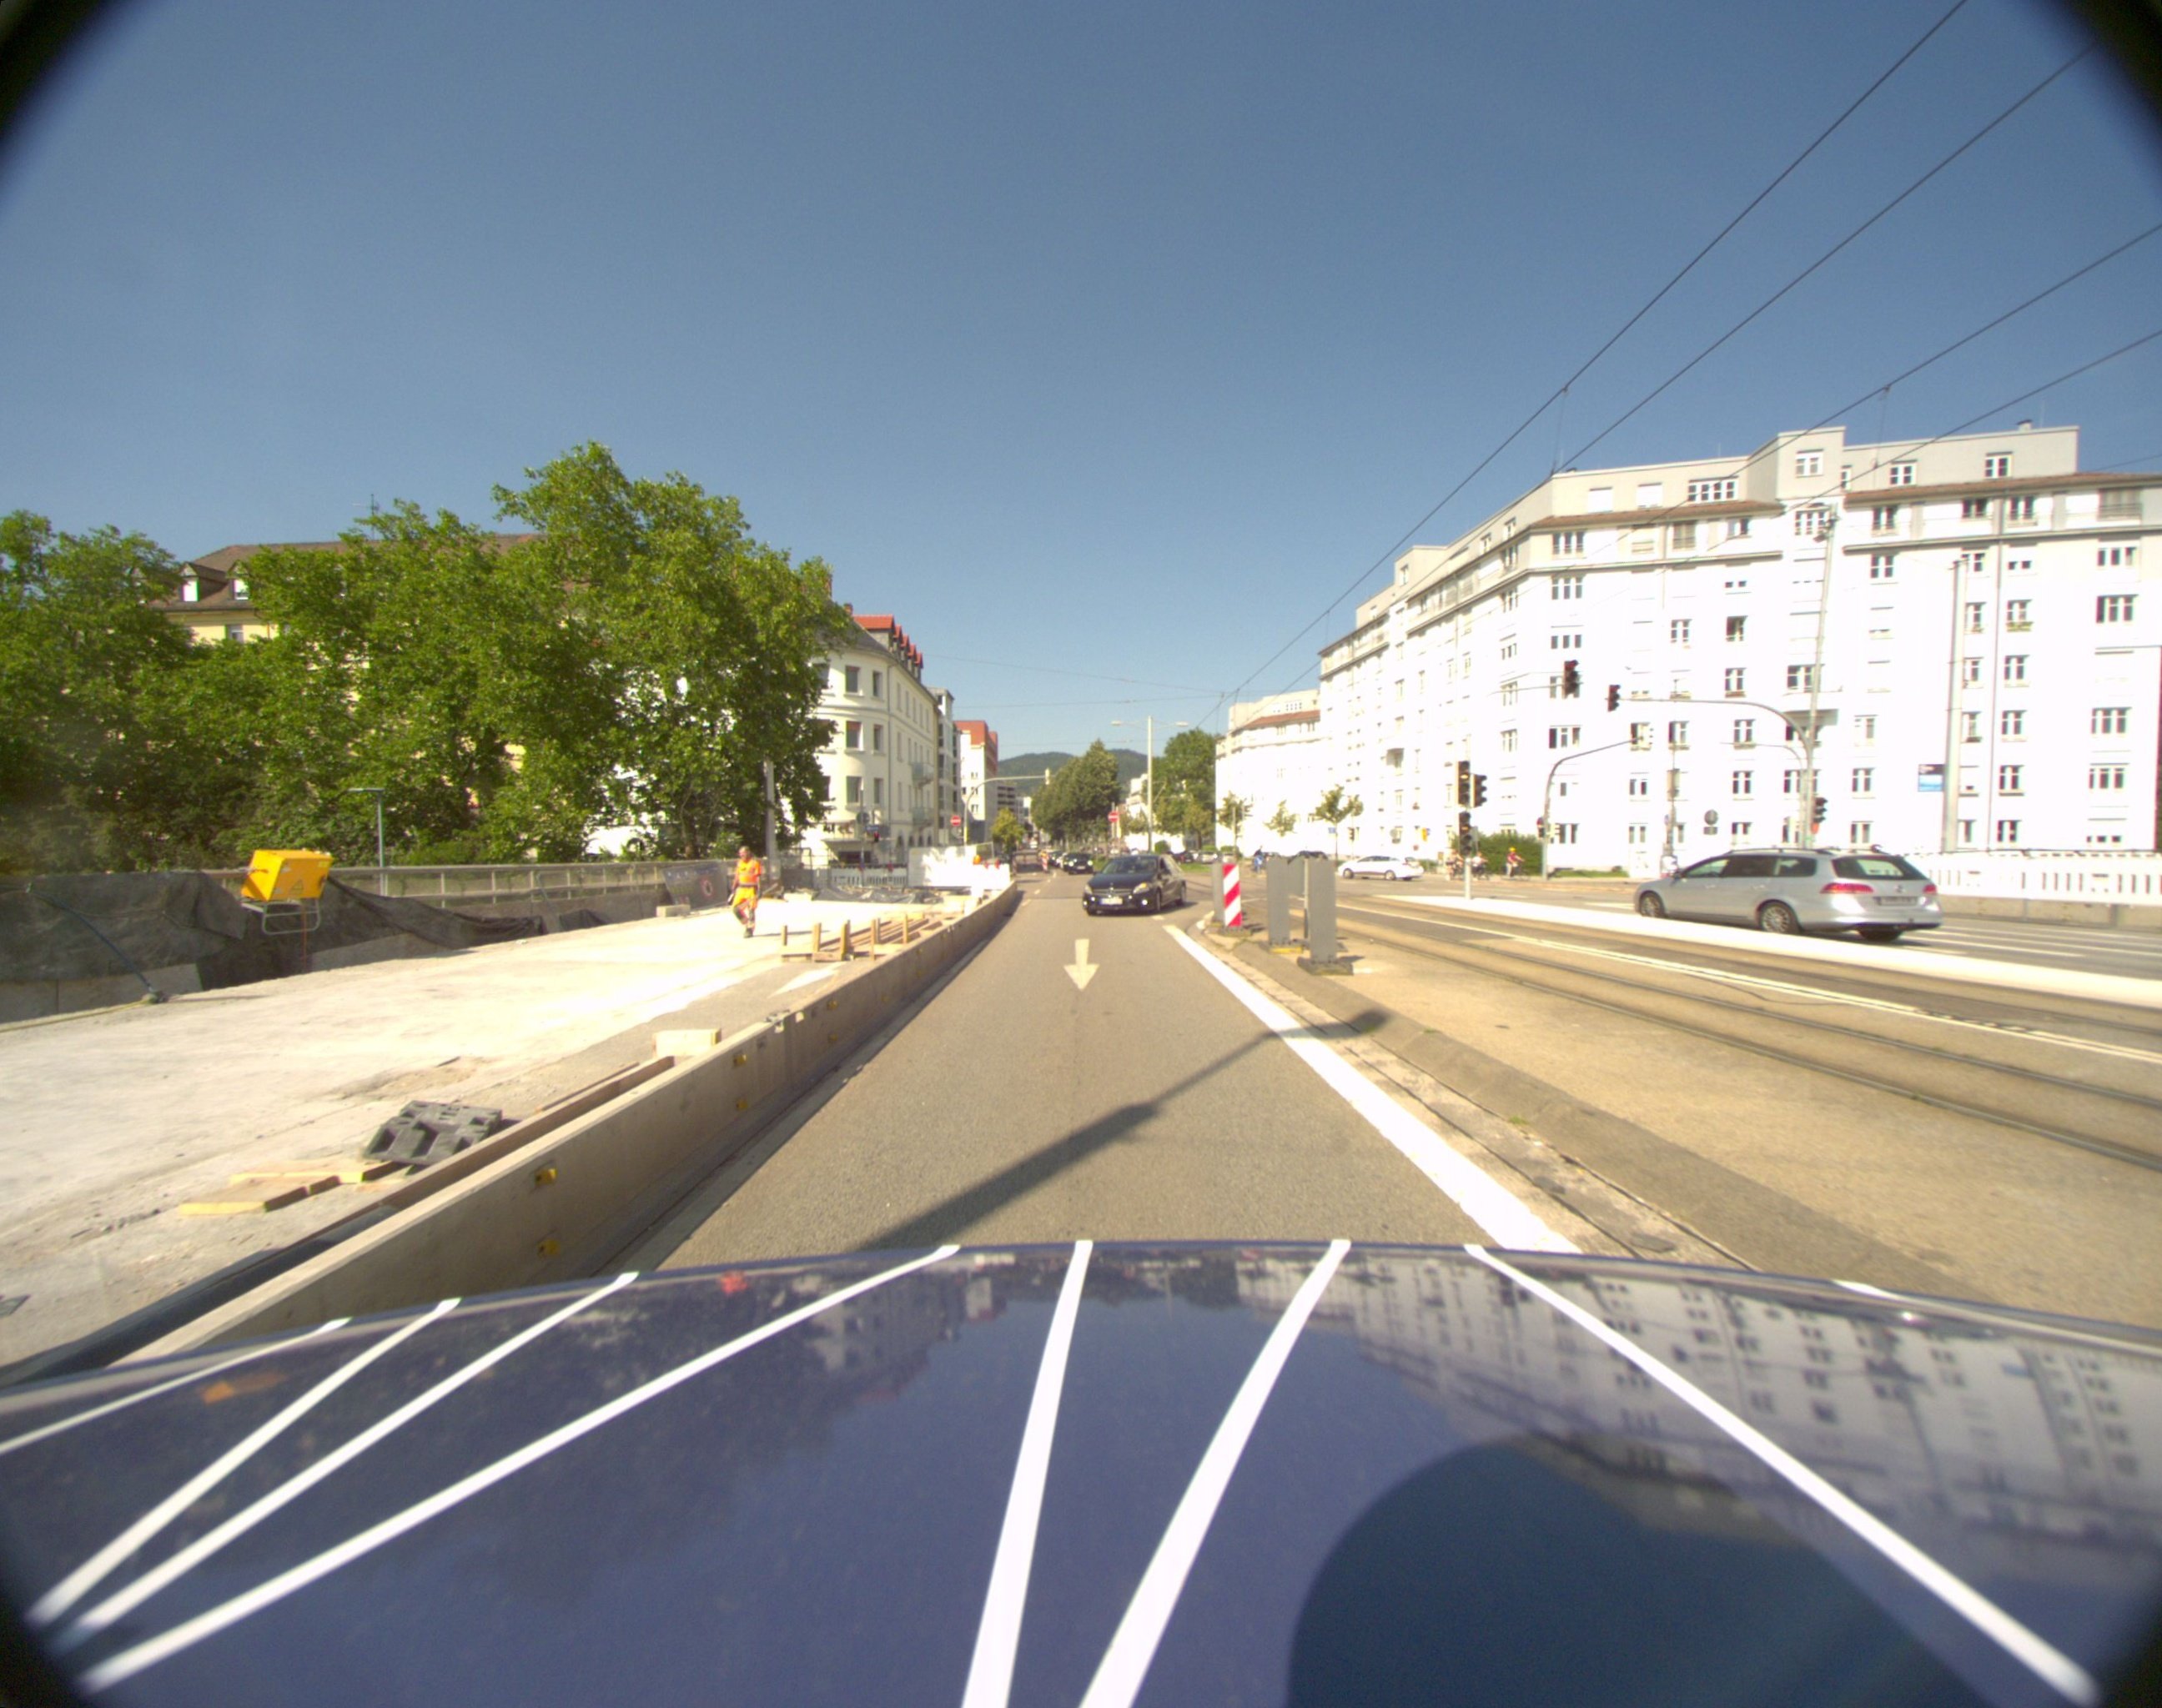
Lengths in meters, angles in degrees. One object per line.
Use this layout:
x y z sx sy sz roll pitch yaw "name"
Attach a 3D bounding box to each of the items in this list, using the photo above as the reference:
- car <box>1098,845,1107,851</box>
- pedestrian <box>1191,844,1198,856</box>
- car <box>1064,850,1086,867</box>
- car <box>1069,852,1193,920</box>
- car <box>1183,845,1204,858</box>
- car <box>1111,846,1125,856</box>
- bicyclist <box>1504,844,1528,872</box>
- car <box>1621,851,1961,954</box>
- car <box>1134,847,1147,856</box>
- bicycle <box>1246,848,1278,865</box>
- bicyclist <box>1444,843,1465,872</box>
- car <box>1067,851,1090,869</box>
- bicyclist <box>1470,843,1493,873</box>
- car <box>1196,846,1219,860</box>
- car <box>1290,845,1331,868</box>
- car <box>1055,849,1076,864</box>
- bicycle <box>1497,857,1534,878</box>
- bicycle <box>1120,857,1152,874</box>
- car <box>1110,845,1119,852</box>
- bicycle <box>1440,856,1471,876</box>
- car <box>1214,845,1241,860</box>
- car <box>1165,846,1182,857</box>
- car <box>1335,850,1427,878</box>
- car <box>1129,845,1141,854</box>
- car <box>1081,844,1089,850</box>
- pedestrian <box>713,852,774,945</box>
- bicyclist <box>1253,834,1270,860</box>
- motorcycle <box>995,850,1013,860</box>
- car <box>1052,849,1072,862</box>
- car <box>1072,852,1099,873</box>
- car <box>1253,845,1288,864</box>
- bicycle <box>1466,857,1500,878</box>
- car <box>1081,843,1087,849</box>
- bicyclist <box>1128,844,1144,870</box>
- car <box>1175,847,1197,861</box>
4.965 -1.438 176.196 1.798 1.476 3.739 -1 1 -3 "car"
16.861 -0.590 112.616 0.858 1.656 0.910 0 1 0 "pedestrian"
-0.574 0.387 66.247 1.767 1.346 3.999 -2 1 -2 "car"
1.405 0.725 19.062 1.700 1.400 4.629 -2 0 22 "car"
13.982 -0.325 94.257 1.740 1.476 3.738 -1 1 -5 "car"
5.449 -0.454 111.411 1.696 1.547 3.654 0 1 -3 "car"
23.095 0.188 40.353 0.598 1.469 0.916 -1 1 -15 "bicyclist"
12.006 0.697 13.411 1.642 1.429 4.642 1 1 0 "car"
10.229 -0.472 130.890 1.740 1.476 3.738 -1 1 -5 "car"
11.630 0.161 48.823 1.909 1.014 0.822 -2 0 13 "bicycle"
20.825 0.201 42.320 0.624 1.580 0.917 -1 1 -11 "bicyclist"
-0.227 0.437 60.246 1.767 1.346 3.999 -2 1 -1 "car"
21.844 0.216 41.454 0.624 1.570 0.916 -2 2 -12 "bicyclist"
14.465 -0.112 87.153 1.740 1.476 3.738 -1 1 -5 "car"
17.456 0.159 57.866 1.740 1.628 3.738 -1 1 -5 "car"
-1.505 0.250 72.565 1.767 1.346 3.998 -2 1 -4 "car"
23.085 0.703 40.429 0.605 1.093 1.812 -1 1 -15 "bicycle"
3.371 0.682 46.597 1.820 0.985 0.709 -1 1 -15 "bicycle"
7.355 -1.293 167.060 1.739 1.476 3.739 -1 1 -3 "car"
20.835 0.651 42.299 0.619 1.093 1.784 -1 1 -11 "bicycle"
15.222 -0.140 79.075 1.740 1.476 3.738 -1 1 -5 "car"
13.062 -0.393 107.363 1.740 1.476 3.738 -1 1 -5 "car"
16.406 0.512 41.767 1.705 1.404 4.473 -1 1 -36 "car"
9.830 -0.838 138.971 1.740 1.476 3.738 -1 1 -5 "car"
1.032 -1.656 186.521 1.798 1.476 3.739 -1 1 -3 "car"
-6.724 0.855 15.168 0.821 1.785 0.863 1 1 -1 "pedestrian"
11.621 -0.437 48.825 1.008 1.644 0.810 -2 0 13 "bicyclist"
-9.472 0.127 93.372 2.177 1.159 0.744 -1 1 1 "motorcycle"
-1.998 0.131 80.115 1.768 1.346 3.997 -2 1 -6 "car"
0.327 0.559 52.826 1.766 1.313 4.000 -2 1 1 "car"
16.492 0.027 66.361 1.740 1.628 3.737 -1 1 -7 "car"
21.866 0.708 41.402 0.628 1.093 1.784 -2 1 -12 "bicycle"
0.856 -2.442 227.211 1.798 1.672 3.739 -1 1 -3 "car"
3.383 0.200 46.599 0.785 1.540 0.709 -1 0 -15 "bicyclist"
11.456 -0.015 82.965 1.594 1.484 3.660 0 1 -4 "car"
